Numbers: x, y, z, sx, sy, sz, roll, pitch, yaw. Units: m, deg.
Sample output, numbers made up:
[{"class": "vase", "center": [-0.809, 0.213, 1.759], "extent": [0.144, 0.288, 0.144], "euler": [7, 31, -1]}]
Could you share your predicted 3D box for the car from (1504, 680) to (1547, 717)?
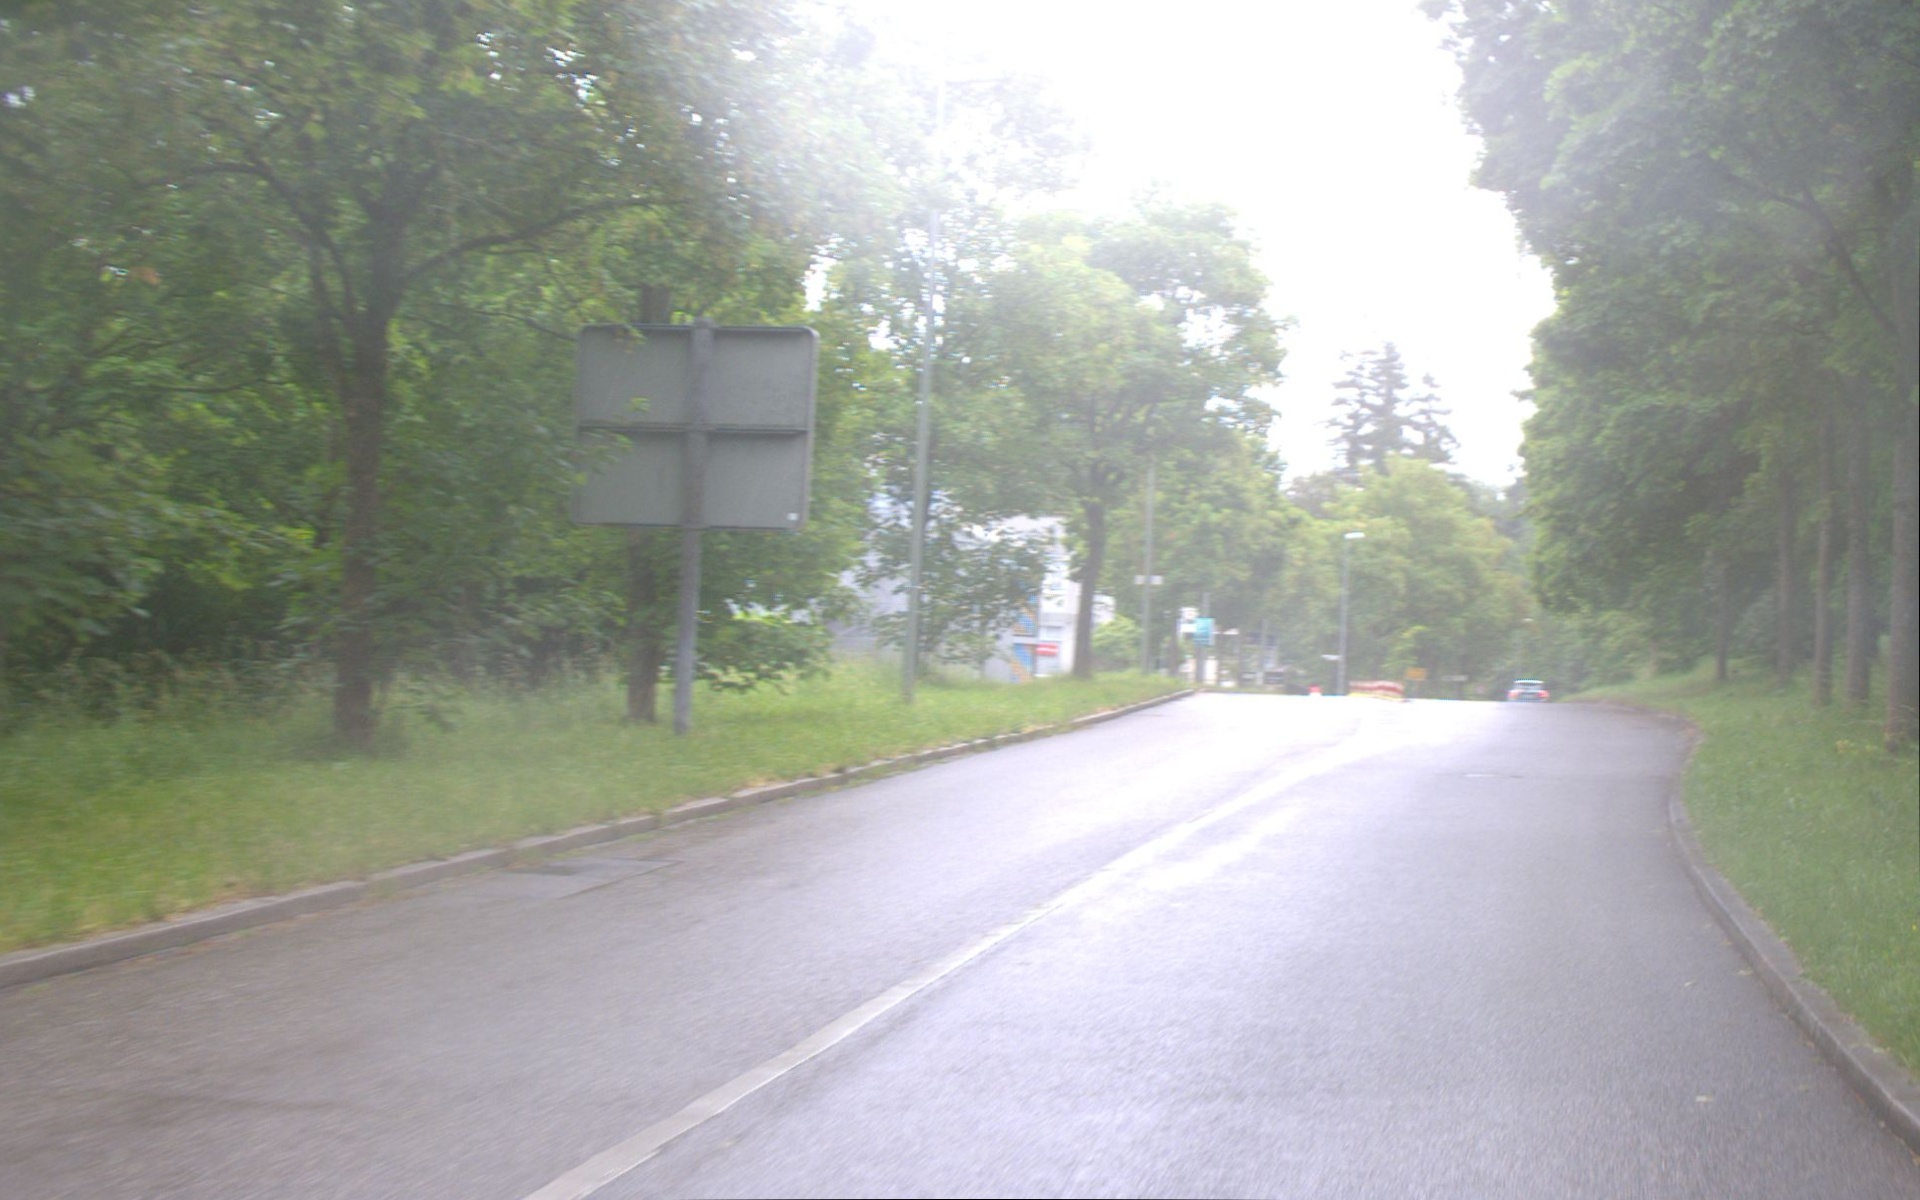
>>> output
[{"class": "car", "center": [24.304, 4.233, 147.624], "extent": [1.737, 1.505, 3.997], "euler": [0, -3, 11]}]
